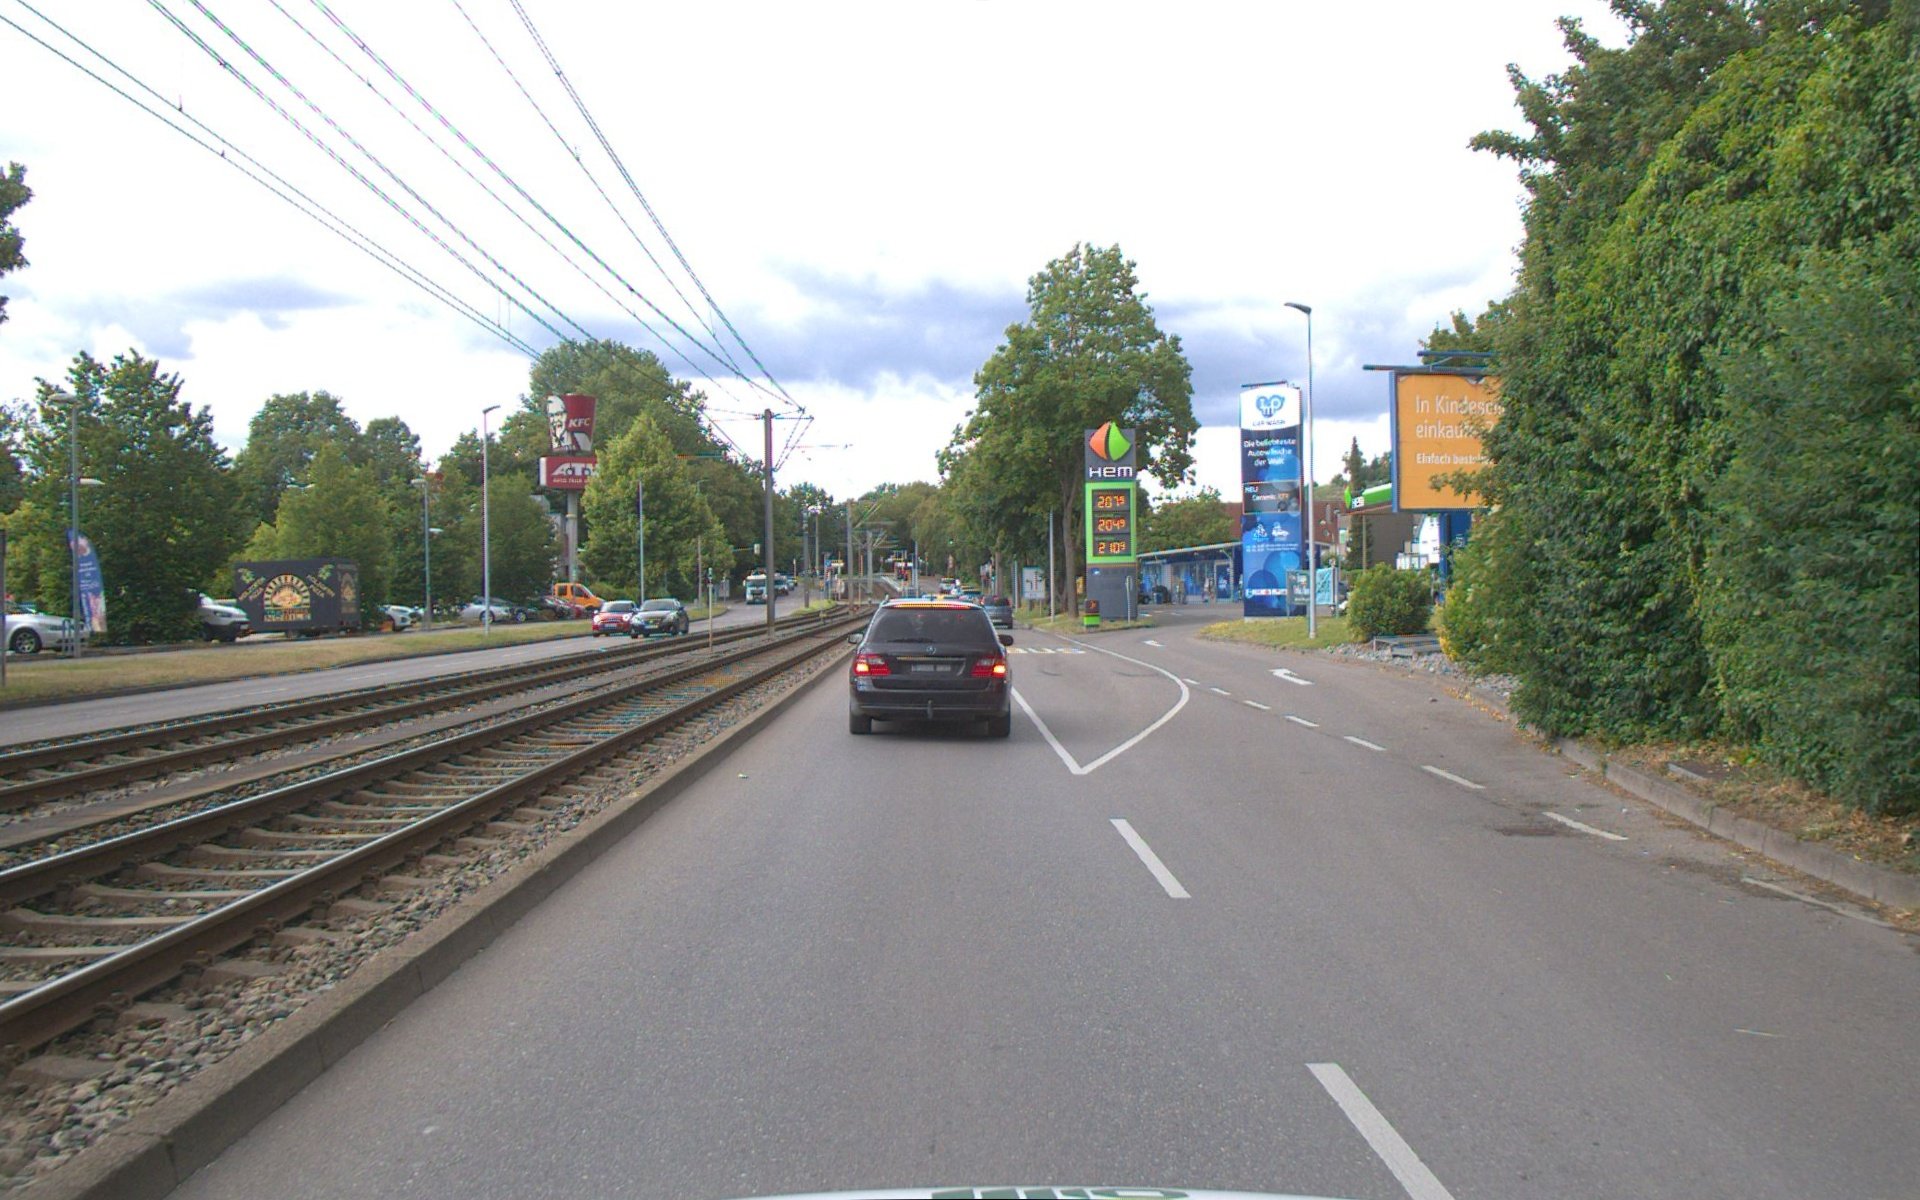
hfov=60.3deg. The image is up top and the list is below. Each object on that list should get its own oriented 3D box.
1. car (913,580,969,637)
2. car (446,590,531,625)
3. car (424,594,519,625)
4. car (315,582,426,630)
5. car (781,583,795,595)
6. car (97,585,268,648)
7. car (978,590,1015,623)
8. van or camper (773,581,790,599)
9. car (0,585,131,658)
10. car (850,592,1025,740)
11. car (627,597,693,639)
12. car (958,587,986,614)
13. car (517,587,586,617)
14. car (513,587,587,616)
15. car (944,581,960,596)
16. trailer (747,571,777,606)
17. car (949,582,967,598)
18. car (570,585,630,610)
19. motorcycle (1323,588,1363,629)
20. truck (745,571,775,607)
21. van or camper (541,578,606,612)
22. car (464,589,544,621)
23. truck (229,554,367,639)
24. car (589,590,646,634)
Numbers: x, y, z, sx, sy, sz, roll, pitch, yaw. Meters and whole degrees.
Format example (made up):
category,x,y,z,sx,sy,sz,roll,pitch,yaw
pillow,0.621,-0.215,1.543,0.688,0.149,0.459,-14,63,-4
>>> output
category,x,y,z,sx,sy,sz,roll,pitch,yaw
car,-0.637,0.274,54.142,1.744,1.781,3.717,1,0,-1
car,-24.404,0.389,85.680,3.910,1.663,1.876,-1,0,-6
car,-24.402,0.469,82.723,4.221,1.497,1.679,-1,0,-3
car,-24.238,0.240,68.086,3.910,1.829,1.876,-1,0,-6
car,-25.094,-1.610,241.516,1.729,1.676,3.770,1,0,-1
car,-23.264,0.477,49.618,4.136,1.757,1.994,-1,0,-3
car,1.643,0.298,75.393,1.539,1.439,3.353,1,0,-1
van or camper,-23.439,-1.308,217.380,1.954,2.395,5.762,-1,0,-3
car,-23.182,0.529,40.208,4.683,1.657,2.652,-1,1,0
car,-0.256,0.662,18.784,1.772,1.500,3.880,0,0,-1
car,-11.343,0.647,62.795,1.724,1.425,4.442,-4,0,-2
car,0.619,0.016,90.795,1.436,1.439,3.353,1,0,-1
car,-25.352,0.100,102.812,3.910,1.829,1.876,0,0,-6
car,-24.196,0.093,97.715,3.910,1.627,1.876,-1,0,-6
car,-1.044,-1.526,215.631,1.953,1.870,3.999,1,0,-1
trailer,-22.441,-1.316,188.391,2.652,3.724,13.288,-1,0,-4
car,-0.243,-1.172,194.518,1.953,1.744,3.999,-1,0,-1
car,-25.408,-0.184,116.724,3.910,1.627,1.794,-1,0,-6
motorcycle,13.233,0.292,57.184,0.838,1.354,1.989,-1,0,-1
truck,-22.114,-1.213,183.555,2.653,3.727,11.103,-1,0,-4
van or camper,-25.196,-0.324,107.925,3.910,2.172,1.876,0,0,-6
car,-24.893,0.277,90.339,3.910,1.627,1.876,-1,0,-6
truck,-23.424,-0.132,58.651,3.908,2.871,2.374,-1,0,-4
car,-14.549,0.491,70.467,1.756,1.803,3.998,-1,0,-3
